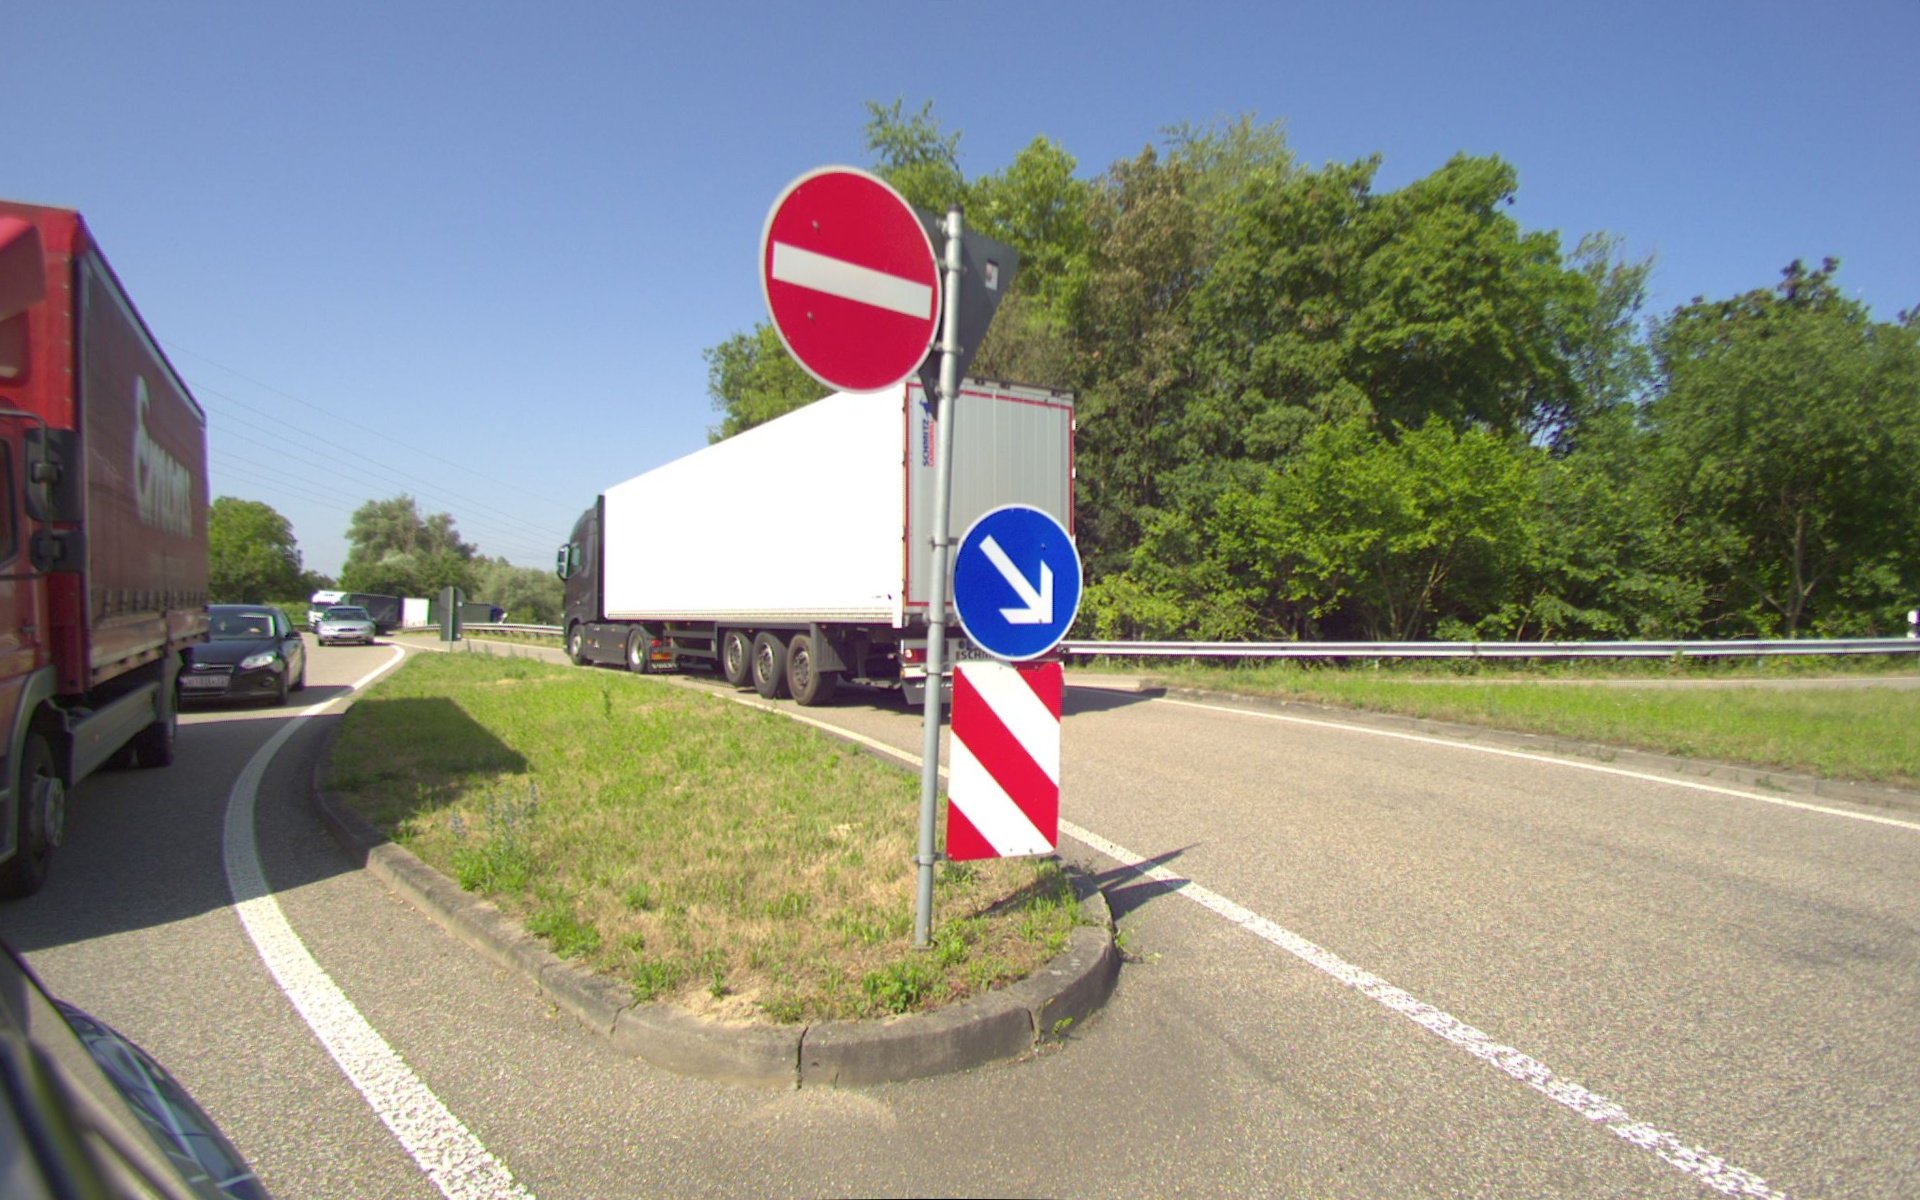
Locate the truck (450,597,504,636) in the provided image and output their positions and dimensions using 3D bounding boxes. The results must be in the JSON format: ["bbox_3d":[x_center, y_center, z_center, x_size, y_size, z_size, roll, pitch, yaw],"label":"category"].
[{"bbox_3d":[-55.528,1.978,116.537,2.905,4.279,5.722,1,-2,6],"label":"truck"}]

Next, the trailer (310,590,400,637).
[{"bbox_3d":[-60.200,1.465,101.193,2.883,4.272,14.010,2,-2,-10],"label":"trailer"}]

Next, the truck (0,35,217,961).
[{"bbox_3d":[-7.371,-0.378,7.271,2.646,3.689,9.288,0,0,-32],"label":"truck"}]

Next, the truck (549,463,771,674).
[{"bbox_3d":[-7.080,-0.615,23.355,2.834,4.205,5.982,-1,0,-39],"label":"truck"}]

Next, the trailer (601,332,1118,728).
[{"bbox_3d":[-3.055,-0.675,17.401,2.847,4.197,14.020,0,-1,-32],"label":"trailer"}]

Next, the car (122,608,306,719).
[{"bbox_3d":[-11.029,0.837,15.237,1.758,1.425,4.012,0,0,-30],"label":"car"}]

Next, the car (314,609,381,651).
[{"bbox_3d":[-22.084,1.041,36.425,1.759,1.396,4.389,0,0,-35],"label":"car"}]

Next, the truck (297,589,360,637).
[{"bbox_3d":[-58.870,1.276,94.503,2.893,4.270,5.744,2,-2,-10],"label":"truck"}]

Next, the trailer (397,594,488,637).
[{"bbox_3d":[-55.654,1.755,109.425,2.917,4.300,13.983,2,-2,-1],"label":"trailer"}]
